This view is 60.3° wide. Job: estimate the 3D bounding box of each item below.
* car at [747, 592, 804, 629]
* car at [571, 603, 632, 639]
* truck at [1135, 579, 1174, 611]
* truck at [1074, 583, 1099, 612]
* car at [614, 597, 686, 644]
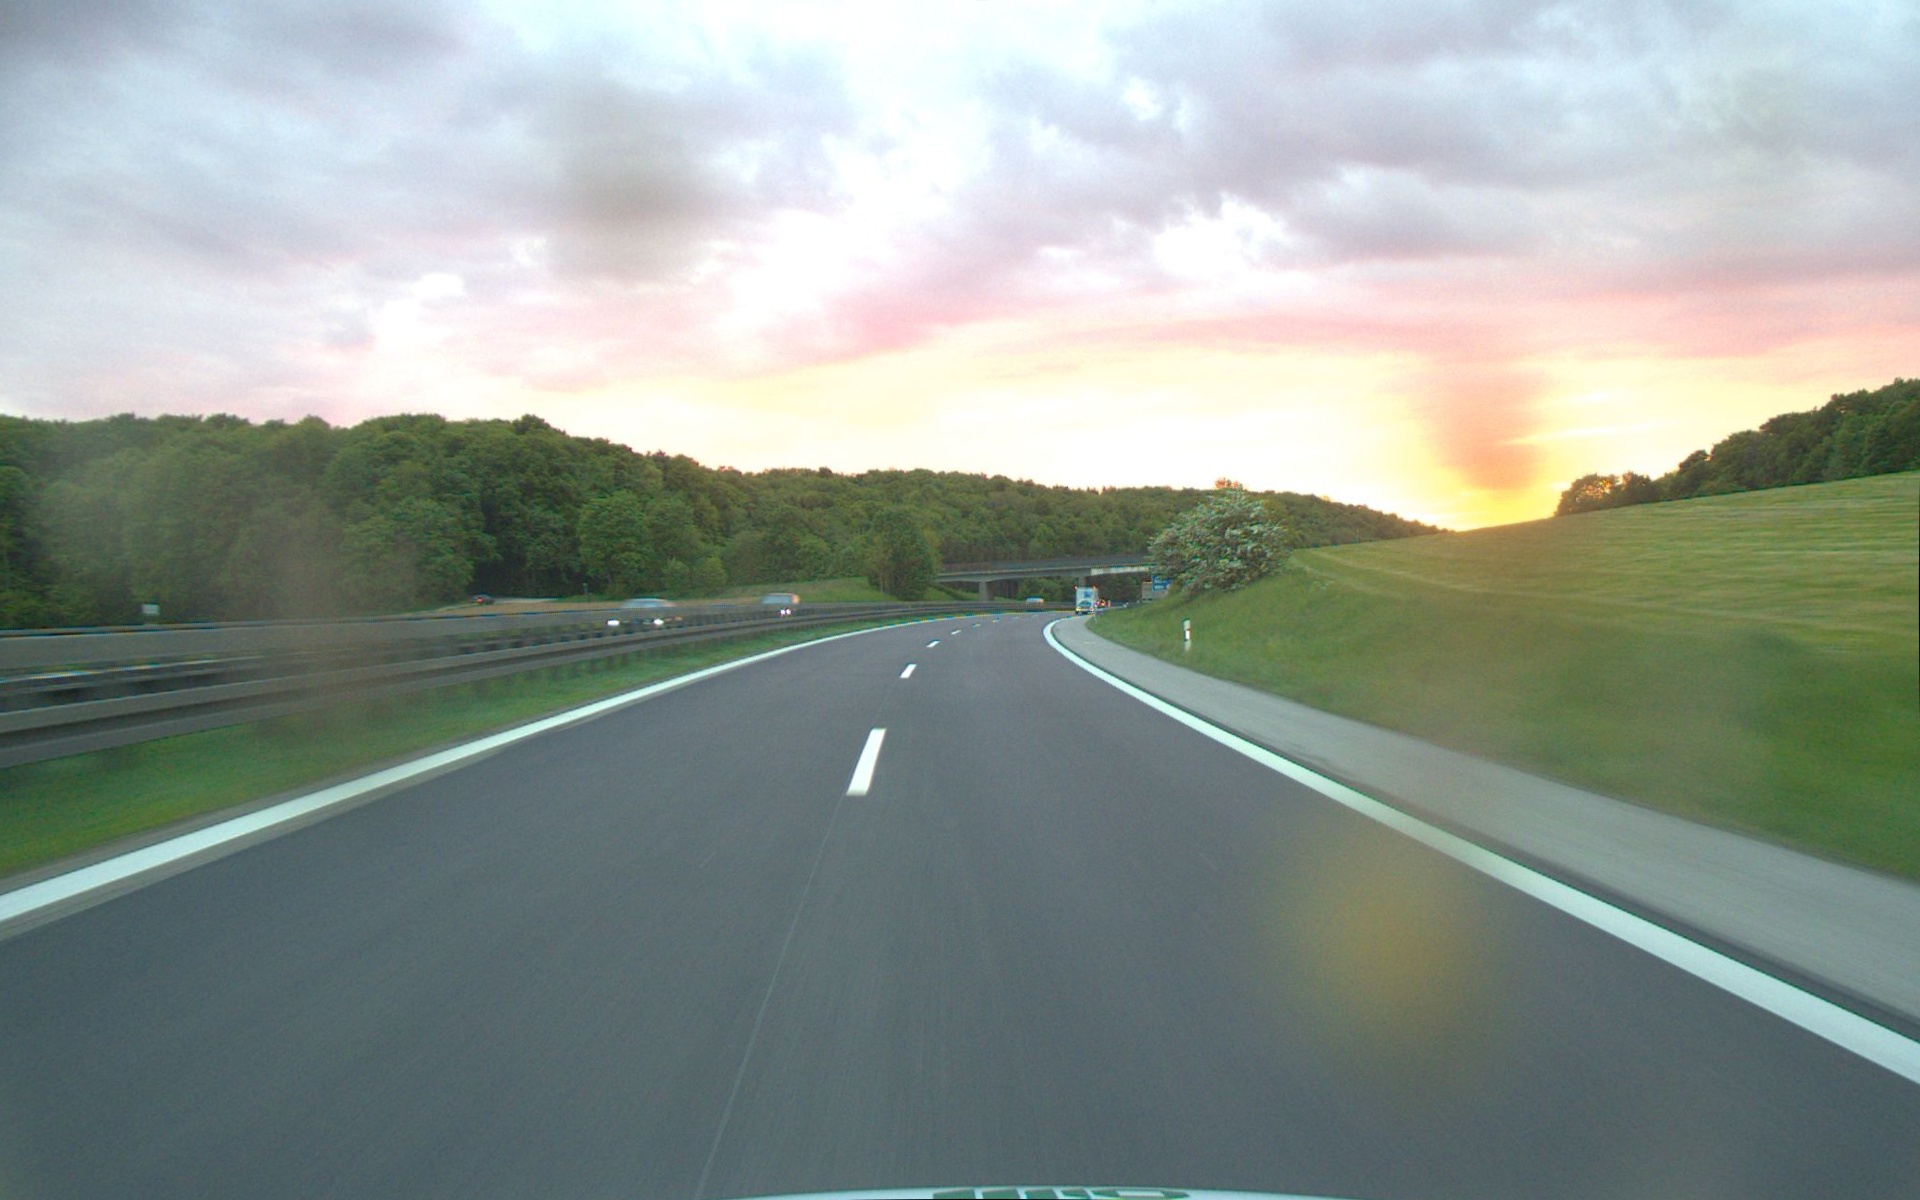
[{"bbox_3d":[-9.163,0.513,82.425,1.951,1.757,4.773,1,0,4],"label":"car"},{"bbox_3d":[-15.245,0.866,70.516,1.619,1.443,4.001,0,1,1],"label":"car"},{"bbox_3d":[27.858,-0.700,236.375,3.873,4.362,14.335,-1,0,13],"label":"truck"},{"bbox_3d":[12.845,-0.262,167.313,2.227,2.711,5.240,-2,1,7],"label":"truck"},{"bbox_3d":[-10.679,0.678,57.242,1.575,1.509,4.001,-1,1,2],"label":"car"}]
